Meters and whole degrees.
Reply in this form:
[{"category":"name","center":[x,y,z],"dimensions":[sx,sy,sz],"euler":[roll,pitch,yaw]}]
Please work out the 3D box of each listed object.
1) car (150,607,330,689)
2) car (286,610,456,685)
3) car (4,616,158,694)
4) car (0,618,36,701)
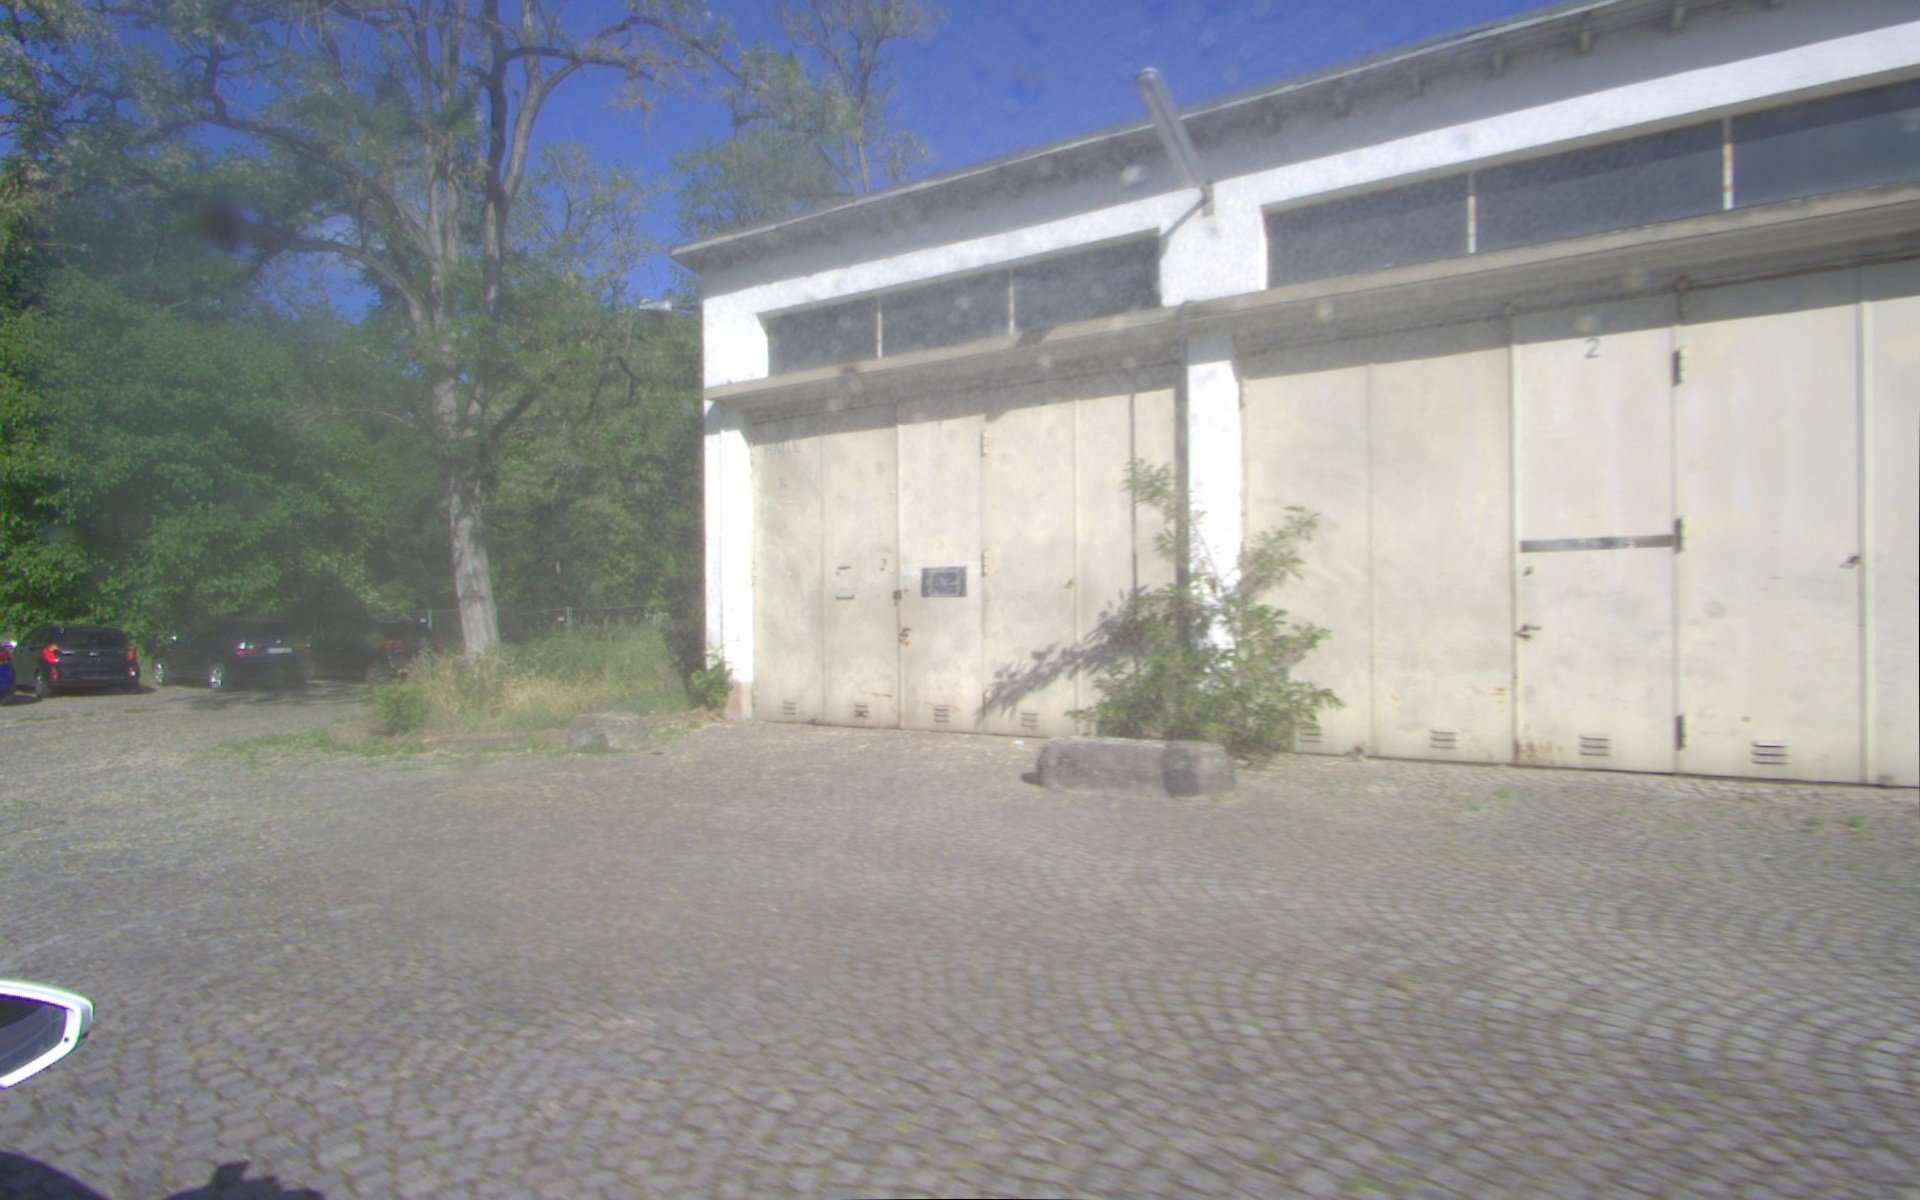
[{"category":"car","center":[-17.079,1.083,23.719],"dimensions":[4.207,1.652,1.873],"euler":[2,0,30]},{"category":"car","center":[-15.474,1.183,26.301],"dimensions":[4.203,1.611,1.823],"euler":[3,1,26]},{"category":"car","center":[-18.882,1.128,21.467],"dimensions":[3.676,1.470,1.733],"euler":[0,-1,36]},{"category":"car","center":[-19.213,1.062,18.810],"dimensions":[3.734,1.477,1.777],"euler":[1,-1,32]}]
